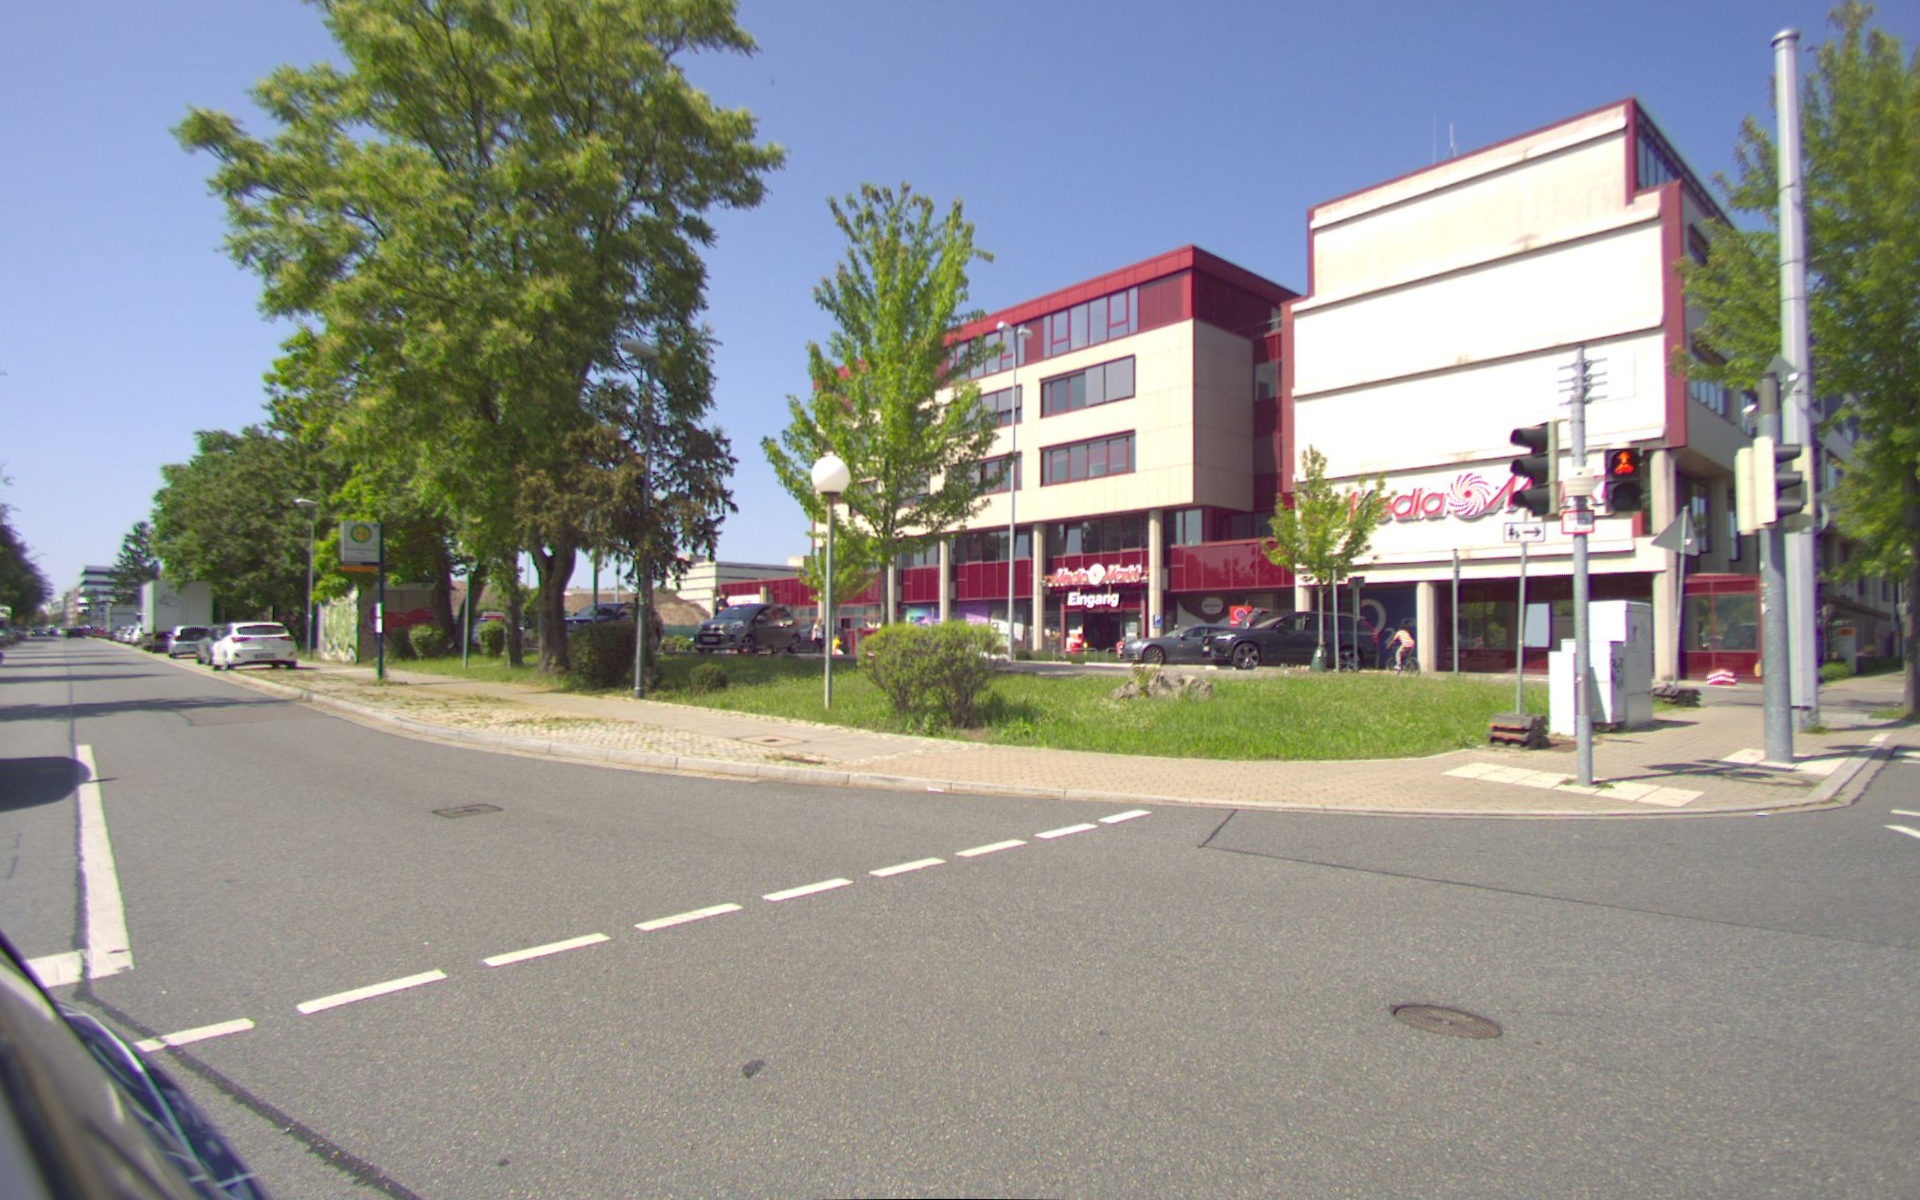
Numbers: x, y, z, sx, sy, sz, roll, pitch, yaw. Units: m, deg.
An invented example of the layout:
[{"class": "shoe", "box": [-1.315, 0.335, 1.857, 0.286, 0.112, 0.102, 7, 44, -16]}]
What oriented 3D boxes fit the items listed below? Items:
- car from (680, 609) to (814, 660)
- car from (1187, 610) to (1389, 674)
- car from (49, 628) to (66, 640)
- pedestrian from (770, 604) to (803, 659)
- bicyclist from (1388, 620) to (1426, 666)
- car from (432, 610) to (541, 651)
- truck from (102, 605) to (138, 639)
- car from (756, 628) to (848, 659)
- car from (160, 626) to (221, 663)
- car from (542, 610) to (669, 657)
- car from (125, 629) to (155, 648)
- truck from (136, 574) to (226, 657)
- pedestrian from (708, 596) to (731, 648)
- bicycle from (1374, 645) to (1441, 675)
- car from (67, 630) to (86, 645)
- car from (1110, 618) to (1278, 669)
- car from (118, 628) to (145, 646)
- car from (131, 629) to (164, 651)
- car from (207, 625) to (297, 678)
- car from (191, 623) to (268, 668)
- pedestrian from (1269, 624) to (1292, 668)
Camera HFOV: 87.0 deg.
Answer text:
[{"class": "car", "box": [-6.044, 0.949, 29.150, 1.709, 1.348, 3.954, -1, -1, 26]}, {"class": "car", "box": [9.361, 1.240, 29.152, 5.037, 1.606, 2.189, 2, -4, -5]}, {"class": "car", "box": [-144.472, 5.477, 162.020, 1.738, 1.807, 4.007, 1, -3, -40]}, {"class": "pedestrian", "box": [-4.904, 0.895, 28.634, 0.753, 1.539, 0.559, -1, -2, 28]}, {"class": "bicyclist", "box": [14.433, 1.368, 32.680, 0.711, 1.459, 0.924, 0, -1, -40]}, {"class": "car", "box": [-21.967, 1.441, 47.159, 1.983, 1.818, 4.690, -2, -3, 17]}, {"class": "truck", "box": [-85.516, 2.262, 103.148, 2.661, 3.345, 7.355, 1, -3, -39]}, {"class": "car", "box": [-7.542, 2.083, 48.641, 4.181, 1.462, 1.722, 0, -2, 1]}, {"class": "car", "box": [-34.723, 1.985, 45.624, 1.788, 1.527, 4.004, 0, -2, -43]}, {"class": "car", "box": [-12.190, 1.112, 35.198, 1.835, 1.504, 4.793, -1, -1, 14]}, {"class": "car", "box": [-66.580, 3.108, 82.198, 1.788, 1.527, 4.006, 0, -1, -41]}, {"class": "truck", "box": [-42.918, 0.909, 55.615, 3.304, 4.175, 9.289, 0, -2, -42]}, {"class": "pedestrian", "box": [-7.176, 0.652, 30.216, 0.555, 1.539, 0.759, 1, -2, -21]}, {"class": "bicycle", "box": [14.444, 1.924, 32.675, 0.717, 0.855, 1.846, 0, 0, -40]}, {"class": "car", "box": [-110.757, 4.706, 126.919, 1.764, 1.807, 4.006, 2, -3, -41]}, {"class": "car", "box": [7.281, 1.365, 31.842, 4.802, 1.504, 1.918, 1, -2, 0]}, {"class": "car", "box": [-74.962, 3.343, 91.541, 1.788, 1.527, 4.006, 0, -1, -41]}, {"class": "car", "box": [-59.313, 2.874, 73.855, 1.788, 1.527, 4.006, 0, -1, -41]}, {"class": "car", "box": [-21.988, 1.548, 31.392, 1.740, 1.504, 4.004, 0, -1, -43]}, {"class": "car", "box": [-26.724, 1.648, 36.985, 1.788, 1.527, 4.004, 0, -2, -43]}, {"class": "pedestrian", "box": [10.230, 1.467, 32.337, 0.455, 1.366, 0.523, 1, -2, -26]}]
